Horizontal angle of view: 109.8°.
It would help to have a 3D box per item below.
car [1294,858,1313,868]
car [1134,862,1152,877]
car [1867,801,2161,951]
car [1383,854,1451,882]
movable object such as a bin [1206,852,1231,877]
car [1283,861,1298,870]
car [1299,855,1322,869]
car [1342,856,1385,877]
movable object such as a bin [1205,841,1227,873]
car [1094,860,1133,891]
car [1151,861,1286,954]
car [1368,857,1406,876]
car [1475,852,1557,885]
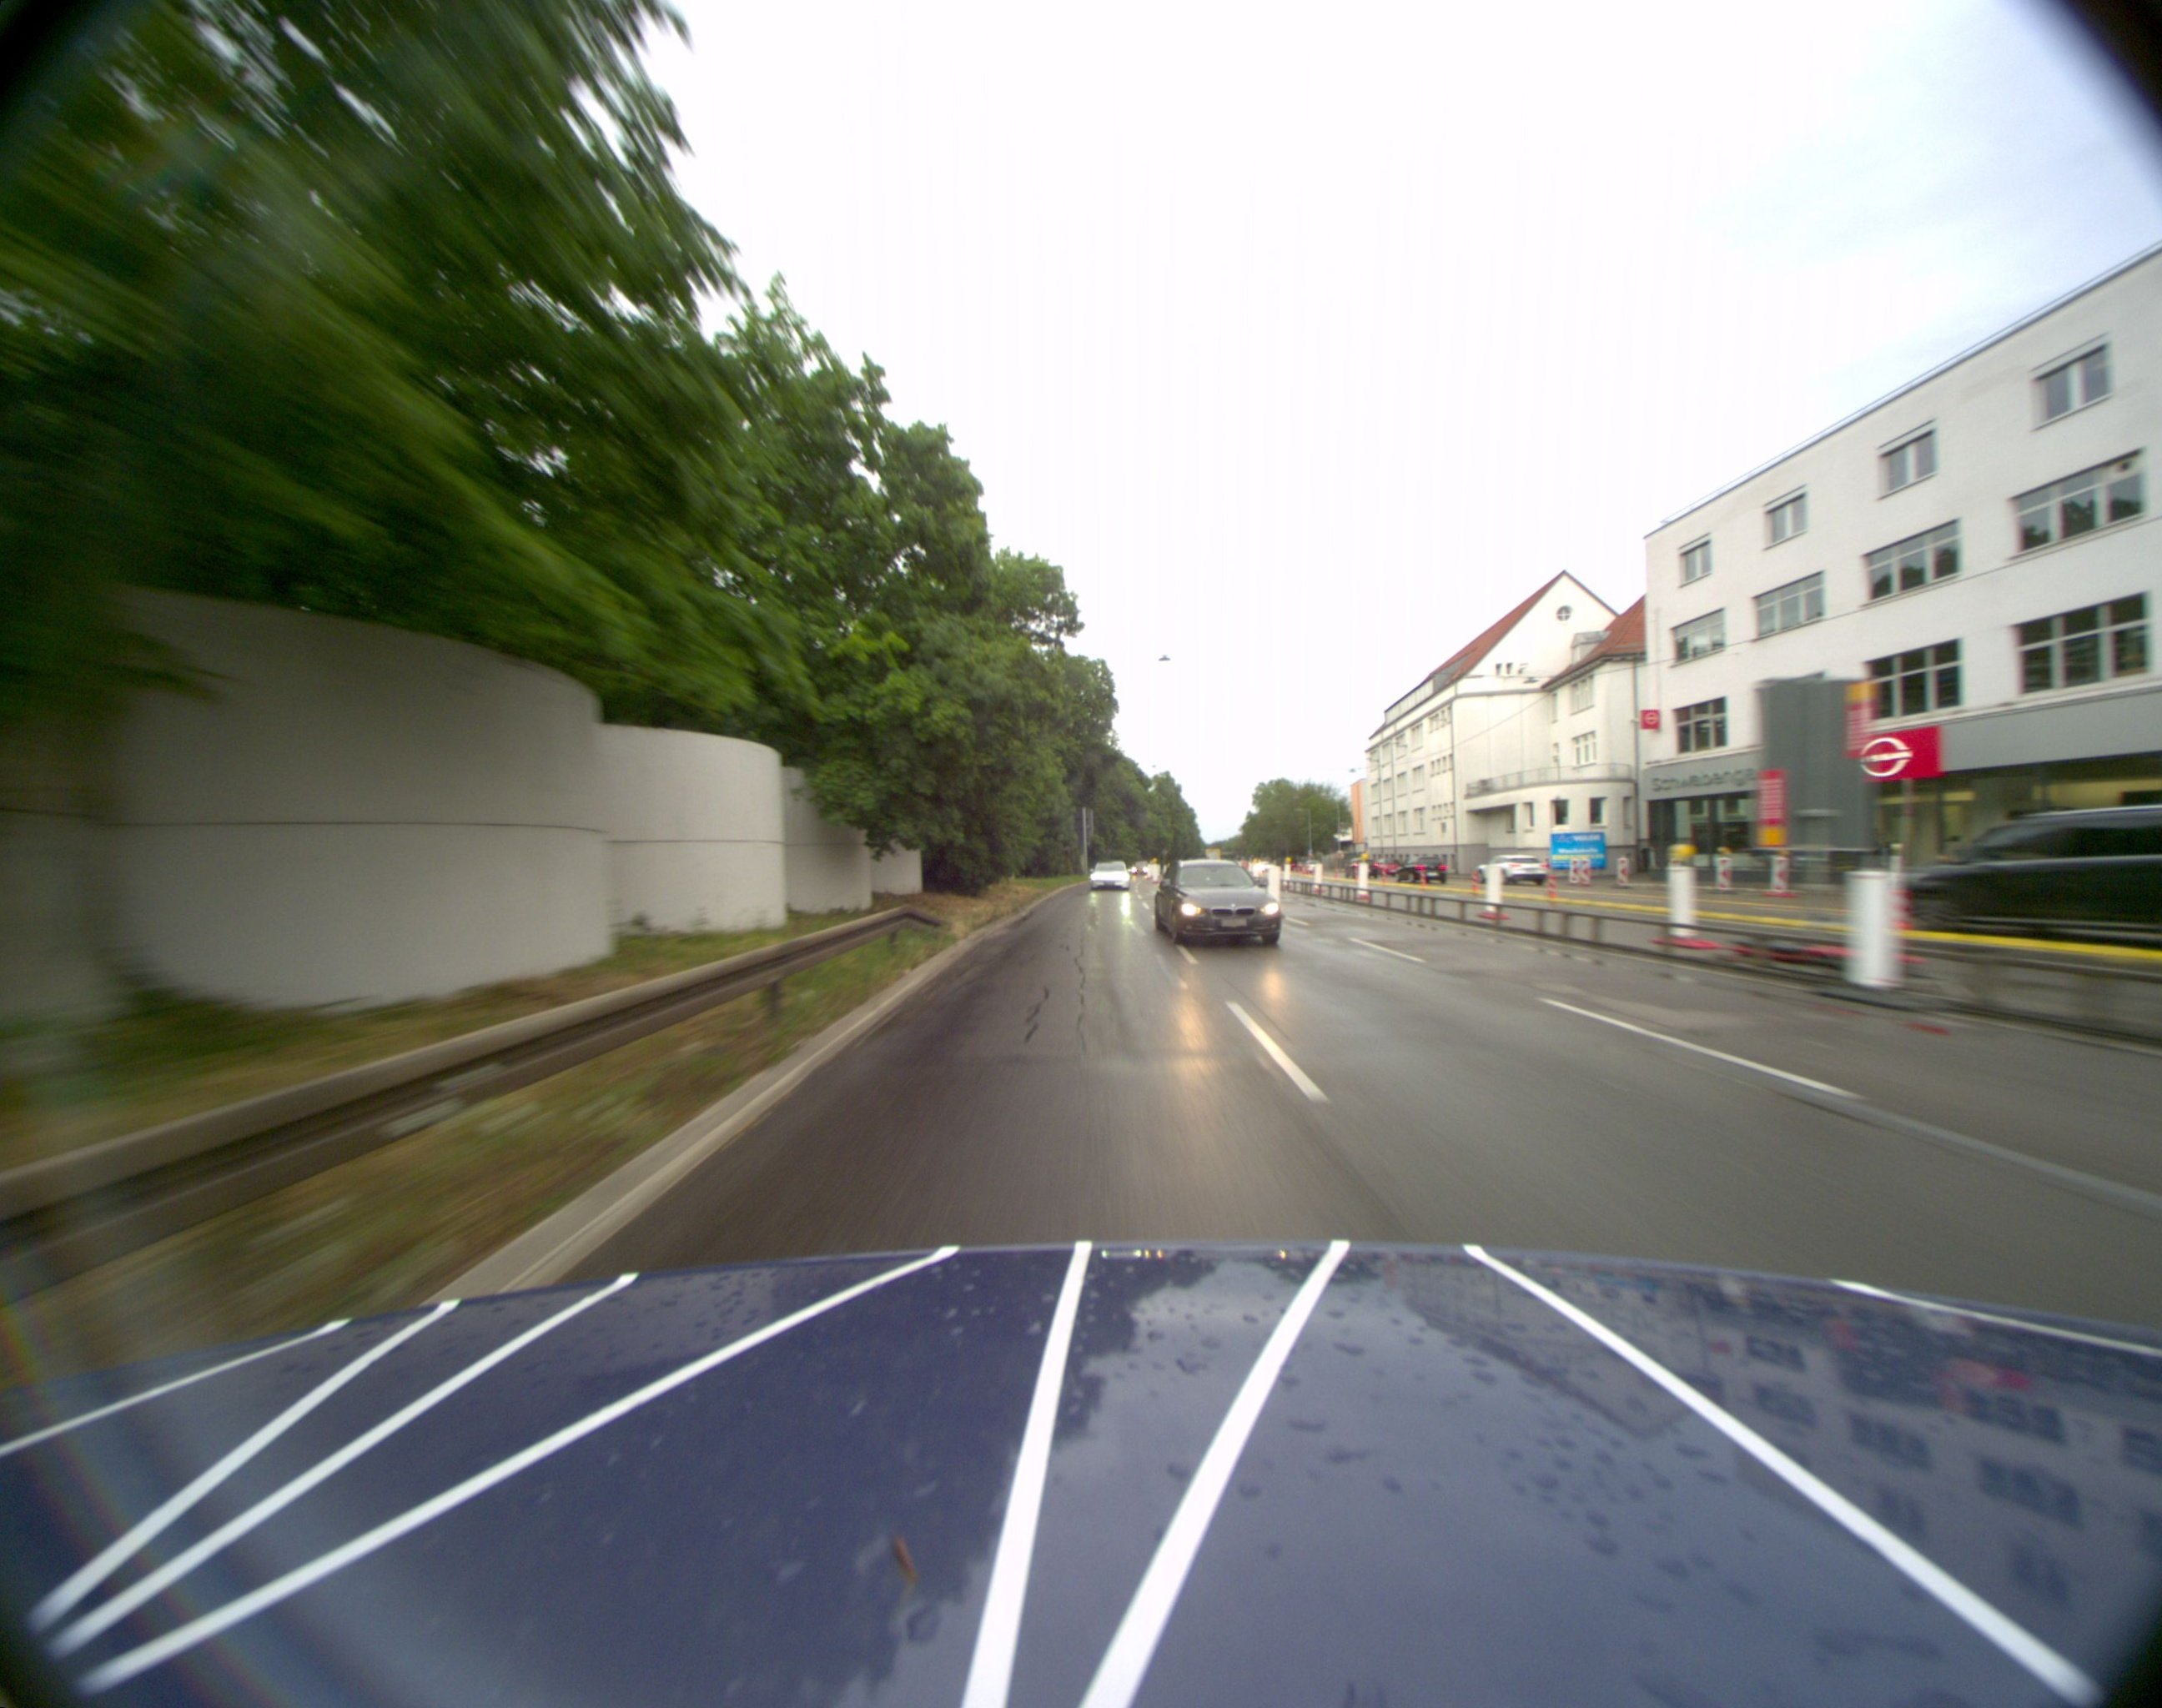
[{"bbox_3d":[32.611,1.348,111.609,1.861,1.373,4.001,0,0,5],"label":"car"},{"bbox_3d":[7.533,1.883,92.376,1.998,1.740,4.000,-1,0,2],"label":"car"},{"bbox_3d":[14.878,0.265,10.815,1.998,1.925,5.231,0,0,1],"label":"car"},{"bbox_3d":[18.148,0.714,41.326,1.802,1.343,4.813,-1,0,3],"label":"car"},{"bbox_3d":[11.904,0.878,66.037,1.997,2.099,3.852,-1,0,8],"label":"movable object such as a bin"},{"bbox_3d":[36.982,2.007,134.219,1.997,1.575,4.214,-1,0,9],"label":"car"},{"bbox_3d":[24.692,0.832,81.790,1.704,1.456,4.120,1,0,7],"label":"car"},{"bbox_3d":[20.216,0.884,54.538,1.802,1.379,3.805,-1,0,3],"label":"car"},{"bbox_3d":[12.637,0.290,71.282,1.825,2.895,3.610,0,0,8],"label":"movable object such as a bin"},{"bbox_3d":[1.609,1.054,38.425,1.839,1.424,4.273,-1,0,1],"label":"car"},{"bbox_3d":[2.392,0.875,14.201,1.764,1.441,4.178,-1,0,0],"label":"car"},{"bbox_3d":[24.562,0.992,61.116,1.737,1.406,3.709,-1,0,5],"label":"car"},{"bbox_3d":[21.589,0.691,37.955,1.787,1.499,4.523,-1,0,5],"label":"car"}]
